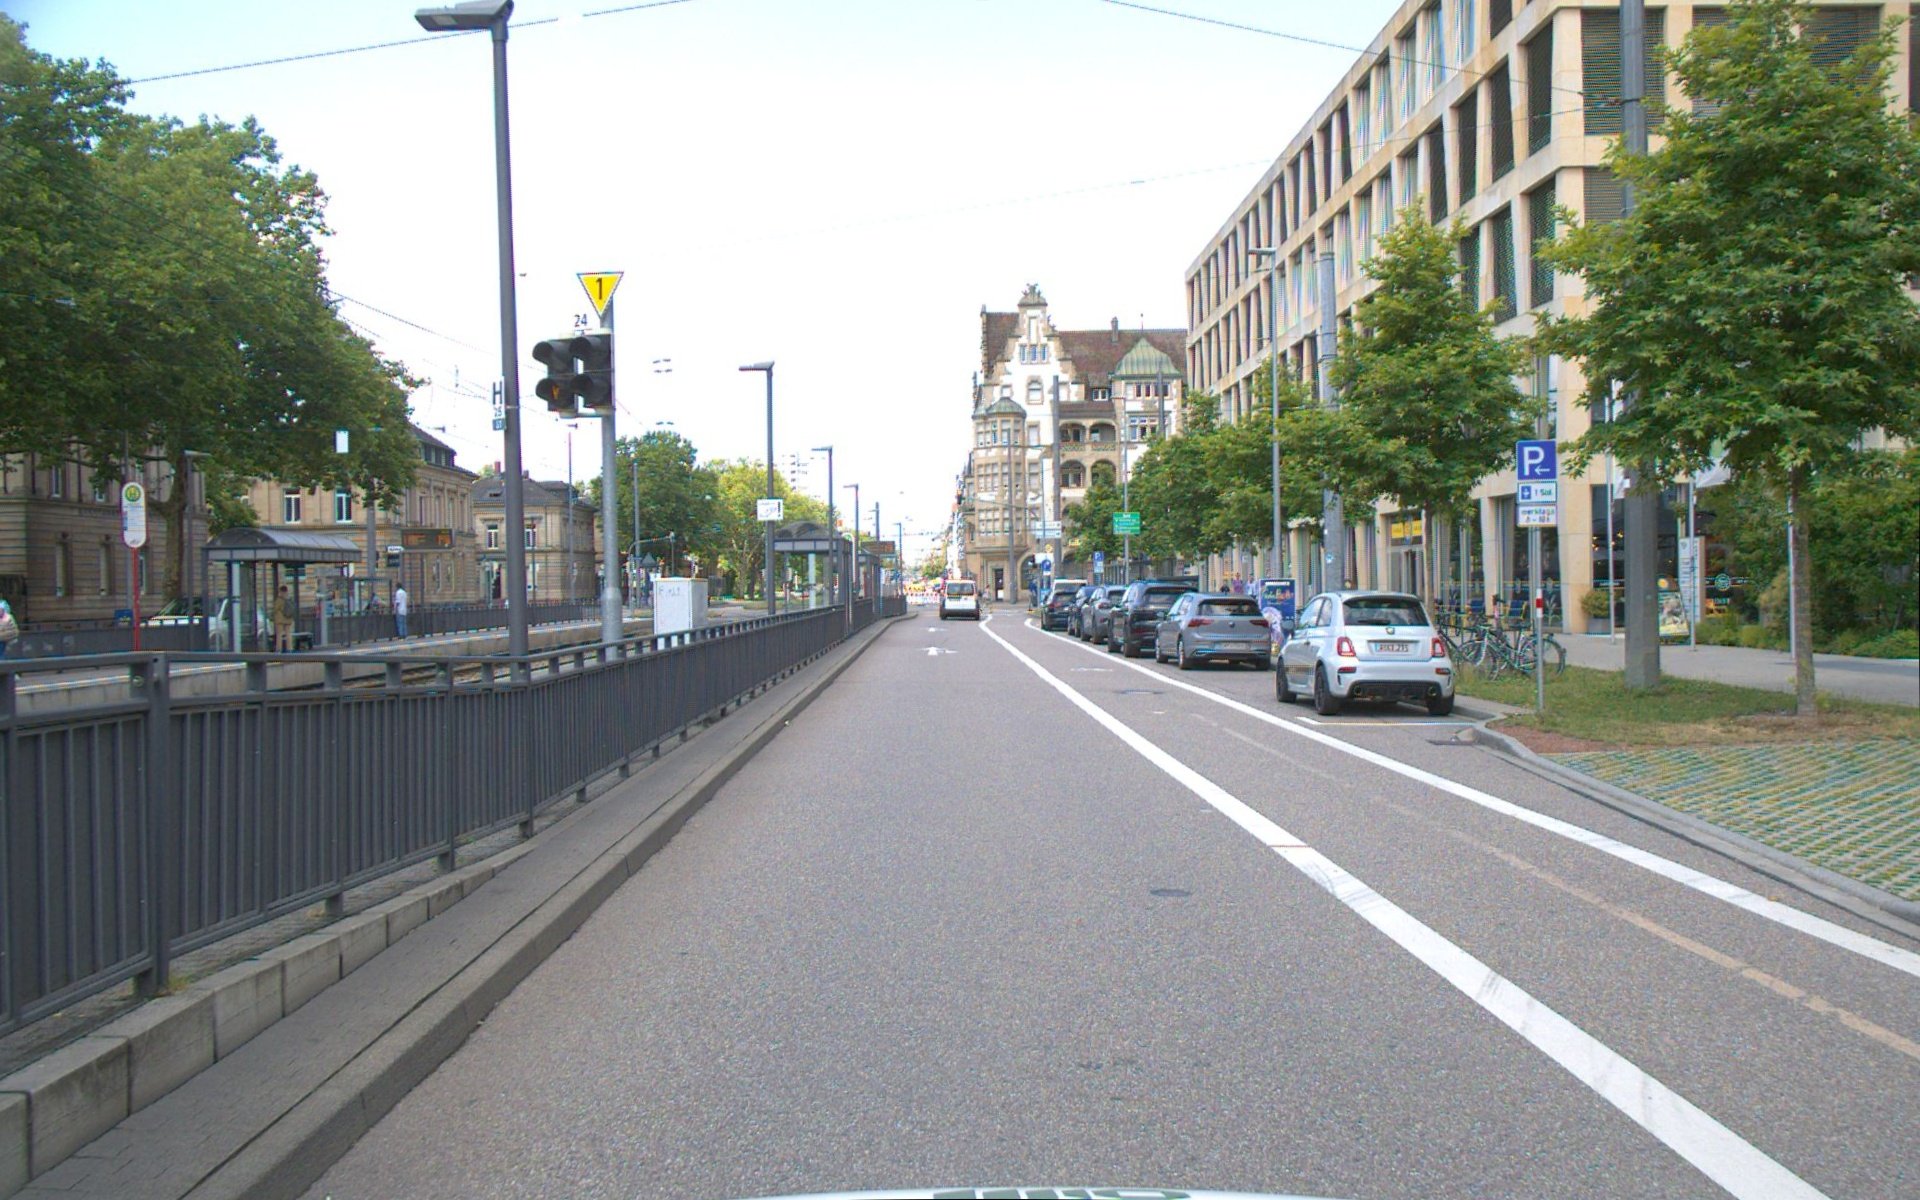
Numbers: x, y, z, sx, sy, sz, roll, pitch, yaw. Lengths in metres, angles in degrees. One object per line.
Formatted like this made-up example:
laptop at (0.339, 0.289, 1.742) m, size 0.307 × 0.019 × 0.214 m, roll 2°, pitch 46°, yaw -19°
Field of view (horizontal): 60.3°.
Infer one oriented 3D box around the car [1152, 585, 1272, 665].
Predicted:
car at (4.890, 0.443, 32.613) m, size 1.559 × 1.459 × 4.105 m, roll 1°, pitch 1°, yaw -3°

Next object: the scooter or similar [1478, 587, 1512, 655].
scooter or similar at (9.879, 0.373, 30.532) m, size 0.253 × 1.237 × 1.015 m, roll -1°, pitch 0°, yaw -1°

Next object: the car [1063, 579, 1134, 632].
car at (4.413, 0.144, 53.210) m, size 1.770 × 1.619 × 4.304 m, roll 1°, pitch 1°, yaw -2°

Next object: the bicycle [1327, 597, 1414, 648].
bicycle at (8.593, 0.462, 34.597) m, size 1.717 × 1.003 × 0.325 m, roll -2°, pitch 0°, yaw -2°

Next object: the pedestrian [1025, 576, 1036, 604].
pedestrian at (4.100, -0.558, 95.972) m, size 0.523 × 1.599 × 0.542 m, roll -3°, pitch 0°, yaw -3°

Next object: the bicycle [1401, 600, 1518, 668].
bicycle at (8.546, 0.575, 28.357) m, size 1.785 × 1.094 × 0.686 m, roll -1°, pitch 0°, yaw 3°

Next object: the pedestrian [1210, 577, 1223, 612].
pedestrian at (11.021, -0.228, 71.022) m, size 0.430 × 1.474 × 0.434 m, roll -1°, pitch 0°, yaw -2°

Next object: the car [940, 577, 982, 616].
car at (0.029, -0.163, 76.997) m, size 1.831 × 1.777 × 3.999 m, roll 0°, pitch 1°, yaw -1°

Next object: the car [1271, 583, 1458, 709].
car at (5.142, 0.529, 21.461) m, size 1.558 × 1.485 × 3.613 m, roll 0°, pitch 1°, yaw 0°

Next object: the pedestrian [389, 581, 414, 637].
pedestrian at (-17.398, 0.282, 51.528) m, size 0.490 × 1.713 × 0.643 m, roll -2°, pitch 0°, yaw -1°

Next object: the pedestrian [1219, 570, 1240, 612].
pedestrian at (11.606, -0.384, 71.139) m, size 0.745 × 1.753 × 0.659 m, roll -1°, pitch 0°, yaw -2°

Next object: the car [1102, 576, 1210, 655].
car at (4.463, 0.306, 38.297) m, size 1.703 × 1.698 × 4.838 m, roll 1°, pitch 1°, yaw -3°

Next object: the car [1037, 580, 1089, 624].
car at (3.654, 0.036, 59.192) m, size 1.414 × 1.495 × 4.090 m, roll 1°, pitch 1°, yaw -3°

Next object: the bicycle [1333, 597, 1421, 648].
bicycle at (8.635, 0.464, 34.256) m, size 1.717 × 1.003 × 0.325 m, roll -2°, pitch 0°, yaw -2°

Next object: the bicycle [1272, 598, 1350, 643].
bicycle at (8.498, 0.493, 40.111) m, size 1.785 × 1.048 × 0.432 m, roll -1°, pitch 0°, yaw 2°

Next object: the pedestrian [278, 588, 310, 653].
pedestrian at (-16.338, 0.497, 40.551) m, size 0.490 × 1.585 × 0.643 m, roll -1°, pitch 0°, yaw -1°

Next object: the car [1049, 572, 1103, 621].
car at (4.466, -0.153, 64.043) m, size 1.675 × 1.828 × 3.360 m, roll 1°, pitch 1°, yaw -3°

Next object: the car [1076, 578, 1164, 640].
car at (4.427, 0.212, 46.487) m, size 1.771 × 1.619 × 4.838 m, roll 1°, pitch 1°, yaw -3°

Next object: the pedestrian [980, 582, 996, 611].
pedestrian at (1.574, -0.200, 94.341) m, size 0.789 × 1.599 × 0.629 m, roll -3°, pitch 0°, yaw -3°

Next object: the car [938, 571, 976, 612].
car at (-0.158, -0.435, 83.977) m, size 1.831 × 2.055 × 3.999 m, roll 0°, pitch 1°, yaw -1°

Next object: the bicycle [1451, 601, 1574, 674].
bicycle at (8.618, 0.586, 25.823) m, size 1.785 × 1.094 × 0.275 m, roll -1°, pitch 0°, yaw 3°

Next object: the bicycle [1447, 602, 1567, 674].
bicycle at (8.634, 0.597, 26.126) m, size 1.785 × 1.094 × 0.275 m, roll -1°, pitch 0°, yaw 3°

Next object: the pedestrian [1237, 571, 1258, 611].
pedestrian at (12.356, -0.377, 71.167) m, size 0.745 × 1.699 × 0.659 m, roll -1°, pitch 0°, yaw -2°

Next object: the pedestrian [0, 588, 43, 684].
pedestrian at (-15.705, 0.592, 27.281) m, size 0.688 × 1.539 × 0.802 m, roll -2°, pitch 0°, yaw -5°

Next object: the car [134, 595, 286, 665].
car at (-20.041, 0.750, 44.450) m, size 1.953 × 1.734 × 4.819 m, roll -1°, pitch 0°, yaw -1°
